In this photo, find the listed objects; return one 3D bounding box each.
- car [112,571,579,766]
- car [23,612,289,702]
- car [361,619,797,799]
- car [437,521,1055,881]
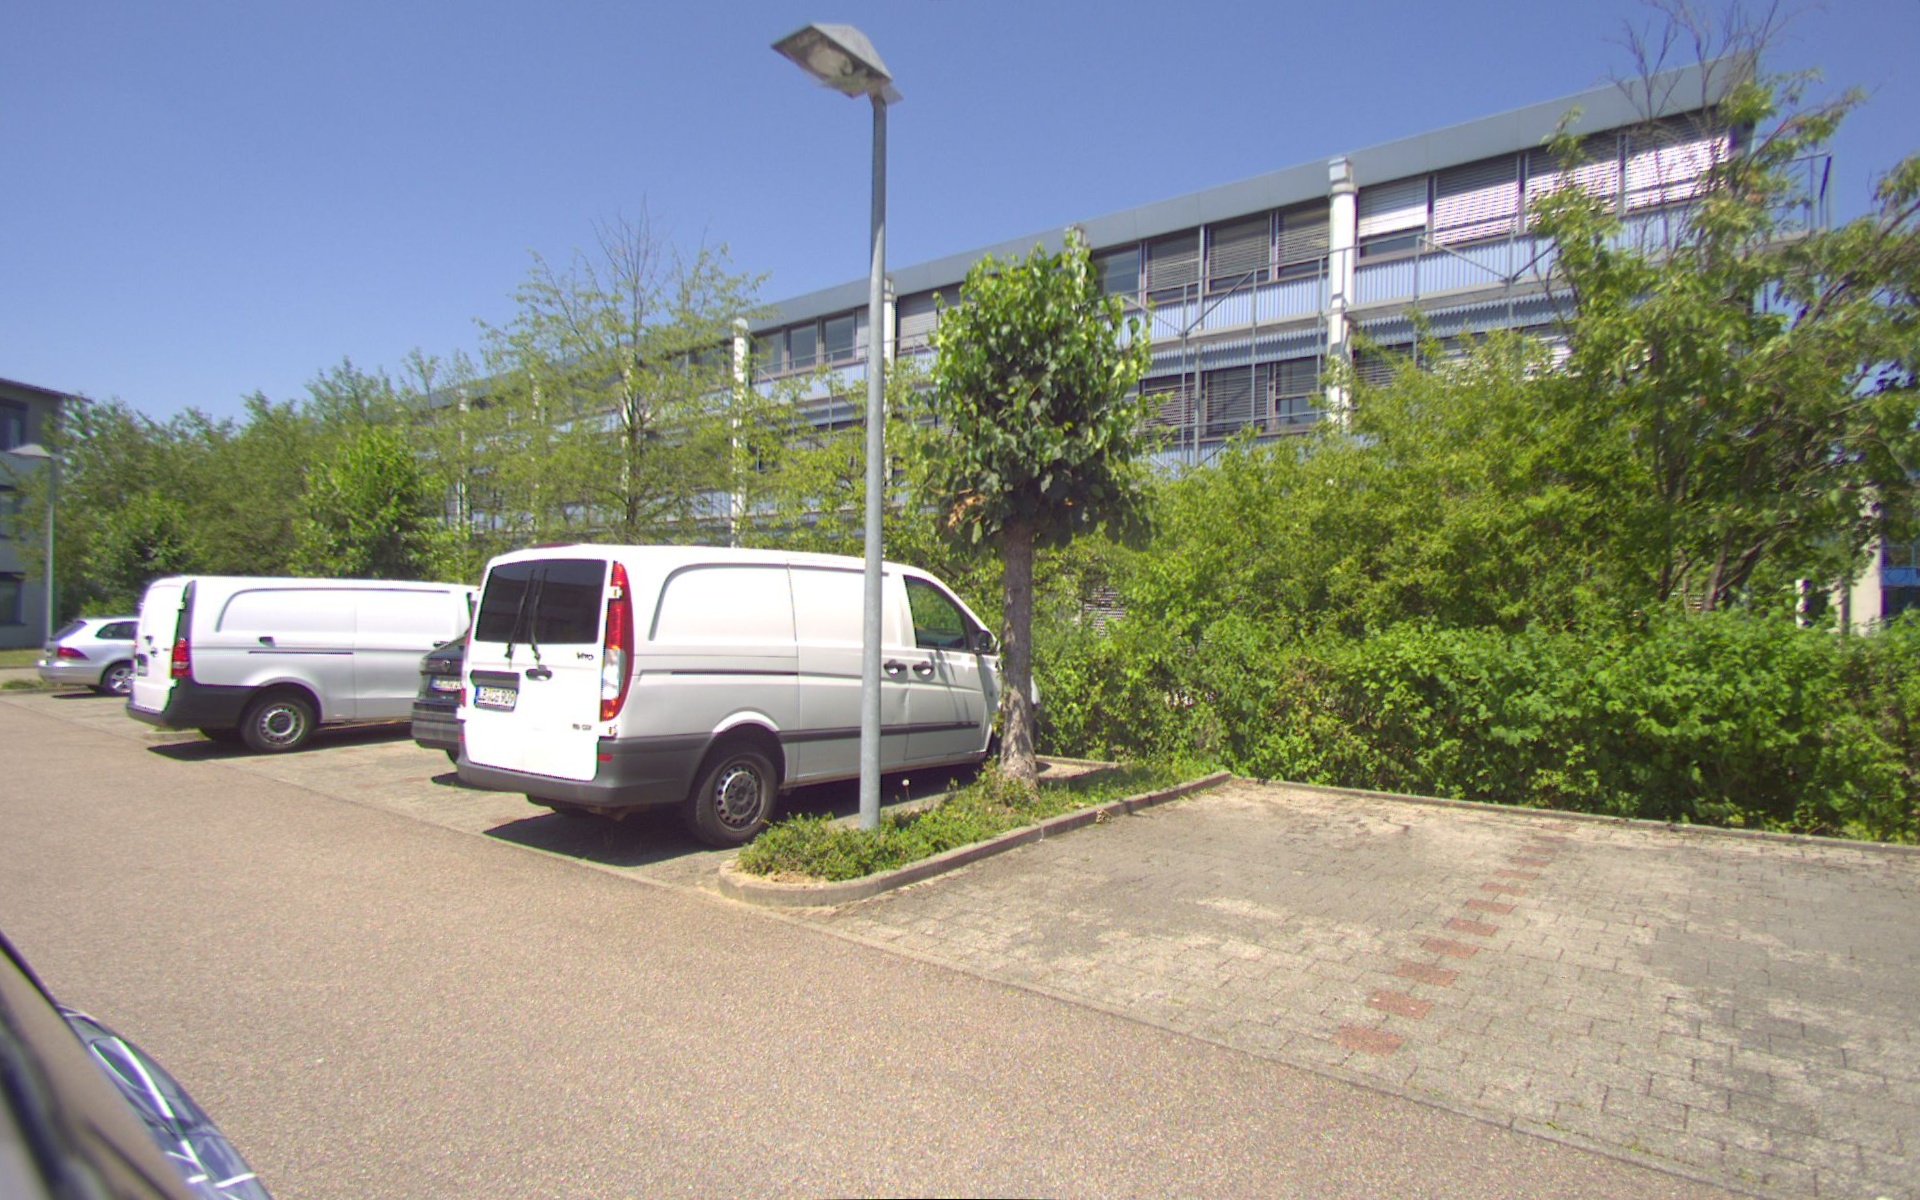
[{"bbox_3d":[-7.102,0.694,12.173,1.826,1.896,4.464,-1,-1,37],"label":"car"},{"bbox_3d":[-15.365,1.012,19.501,1.658,1.569,3.719,-1,-1,37],"label":"car"},{"bbox_3d":[-3.541,0.899,10.006,1.574,1.404,3.804,-1,-1,37],"label":"car"},{"bbox_3d":[-1.254,0.570,7.852,1.826,1.920,4.677,-1,-1,37],"label":"car"}]
